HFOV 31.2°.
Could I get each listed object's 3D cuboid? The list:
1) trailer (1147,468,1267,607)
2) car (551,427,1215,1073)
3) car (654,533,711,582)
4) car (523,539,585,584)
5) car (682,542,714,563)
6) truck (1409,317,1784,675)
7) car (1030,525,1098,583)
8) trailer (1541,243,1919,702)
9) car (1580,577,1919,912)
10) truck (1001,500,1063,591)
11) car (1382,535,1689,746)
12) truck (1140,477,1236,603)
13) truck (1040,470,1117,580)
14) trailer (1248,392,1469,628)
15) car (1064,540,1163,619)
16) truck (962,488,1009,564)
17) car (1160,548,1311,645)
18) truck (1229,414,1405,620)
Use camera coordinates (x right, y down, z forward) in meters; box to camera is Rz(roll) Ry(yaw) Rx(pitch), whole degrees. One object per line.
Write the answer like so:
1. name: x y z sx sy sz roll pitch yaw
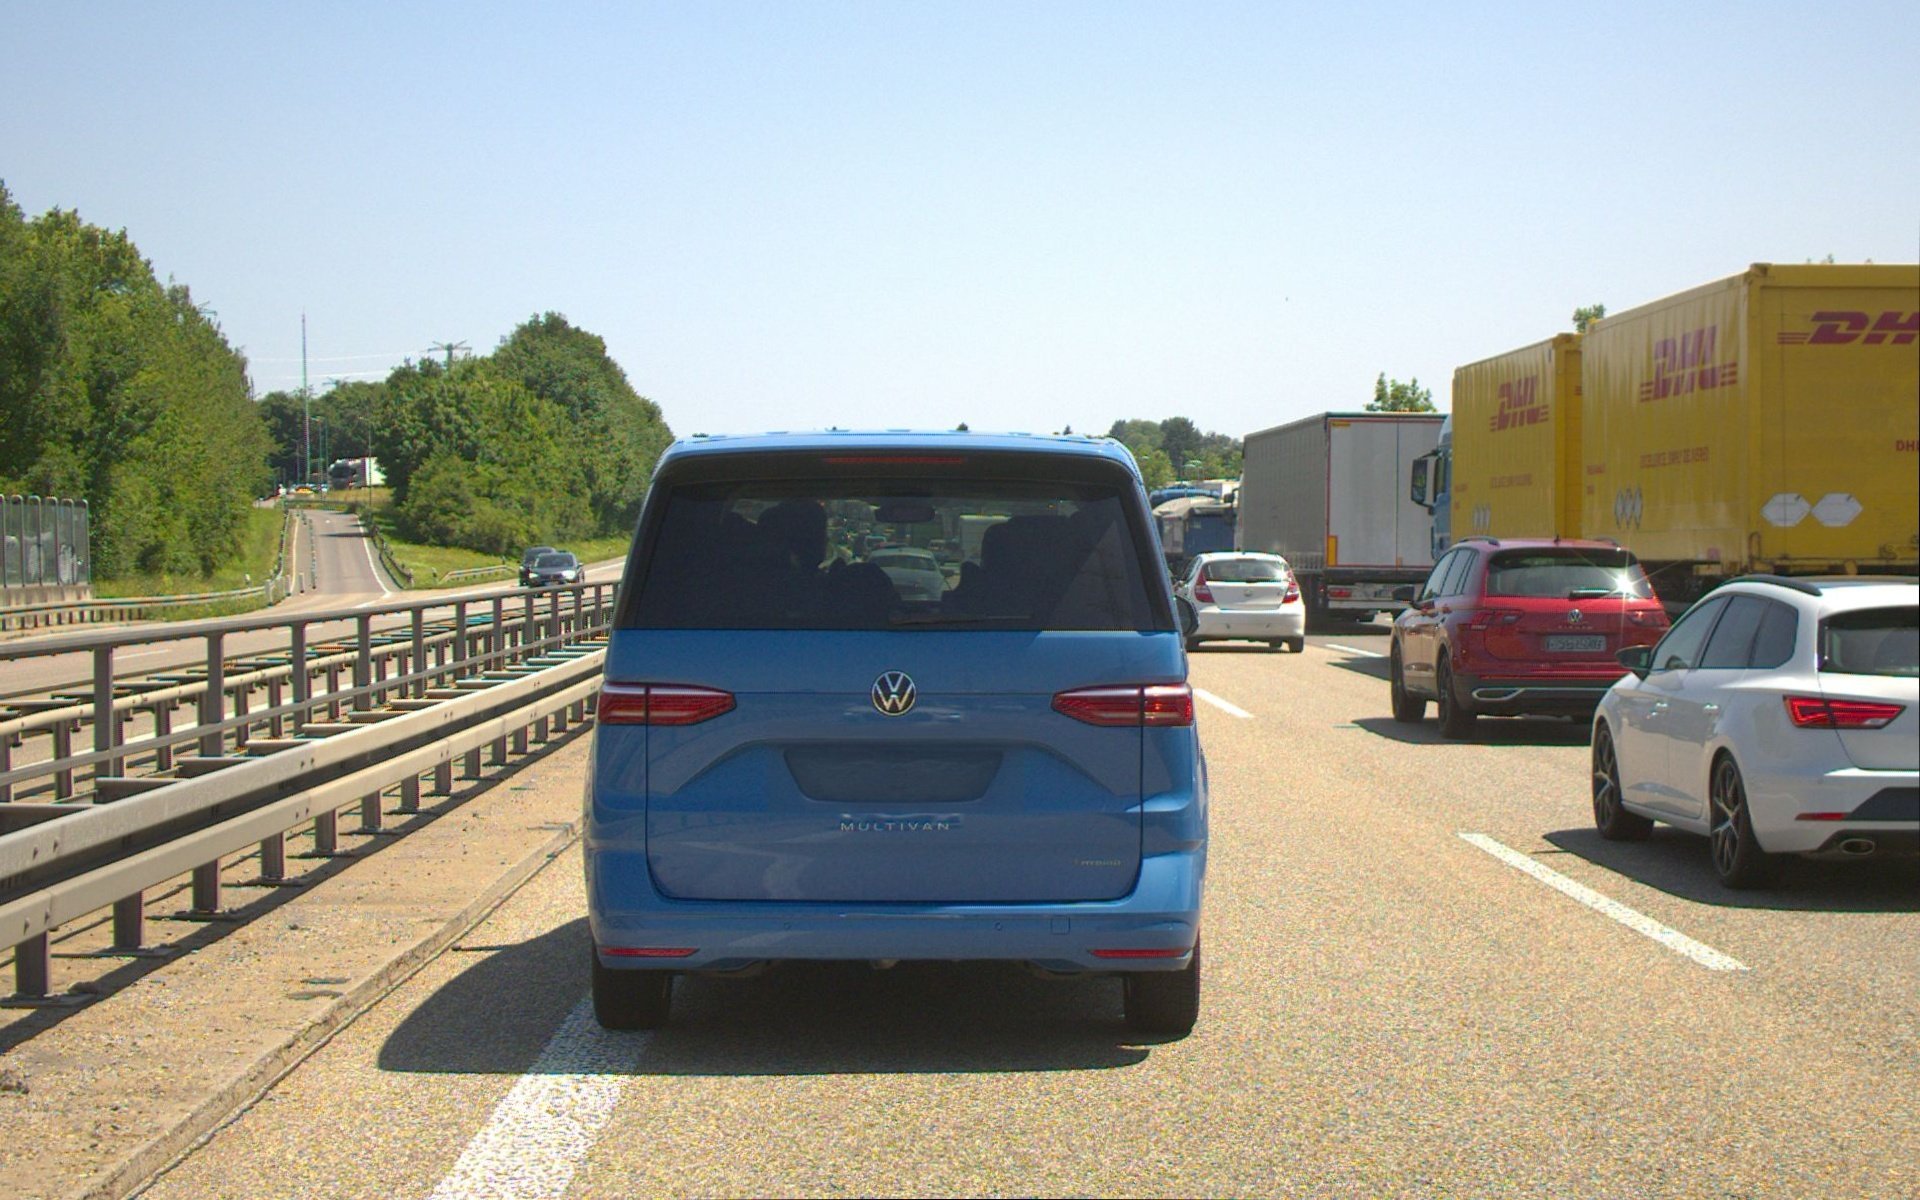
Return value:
1. trailer: 7.008 -1.742 98.926 2.379 3.731 11.189 1 0 -1
2. car: -0.238 0.396 11.764 1.882 1.831 4.000 0 1 0
3. car: -10.108 -1.563 125.397 1.754 1.715 4.101 -1 1 -1
4. car: -14.790 -1.411 125.454 1.754 1.542 4.000 -2 0 -1
5. car: -18.297 -3.332 240.130 1.910 1.389 4.165 -2 0 -1
6. truck: 7.928 -1.217 44.357 2.722 4.041 10.336 1 0 -1
7. car: 2.903 -1.294 96.317 1.715 1.535 3.821 -1 1 -1
8. trailer: 8.061 -1.143 34.711 2.701 4.010 8.931 1 0 -1
9. car: 4.290 0.599 16.636 1.781 1.382 4.188 0 1 -1
10. truck: 4.063 -3.099 197.587 2.833 5.023 11.818 1 0 -2
11. car: 4.712 0.278 28.686 1.851 1.603 4.000 0 1 0
12. truck: 6.885 -1.789 104.528 2.367 3.709 6.034 1 0 -1
13. truck: 5.598 -3.492 164.538 2.833 5.023 11.147 1 0 -2
14. trailer: 7.535 -1.631 66.555 2.755 4.132 11.312 1 0 -1
15. car: 3.197 -0.447 72.160 1.715 1.581 3.821 -1 1 -3
16. truck: 1.823 -5.392 252.801 2.833 5.354 12.556 1 0 -2
17. car: 4.127 -0.082 52.043 1.838 1.409 4.000 0 1 -2
18. truck: 7.431 -1.688 72.436 2.768 4.081 6.984 1 0 -1
